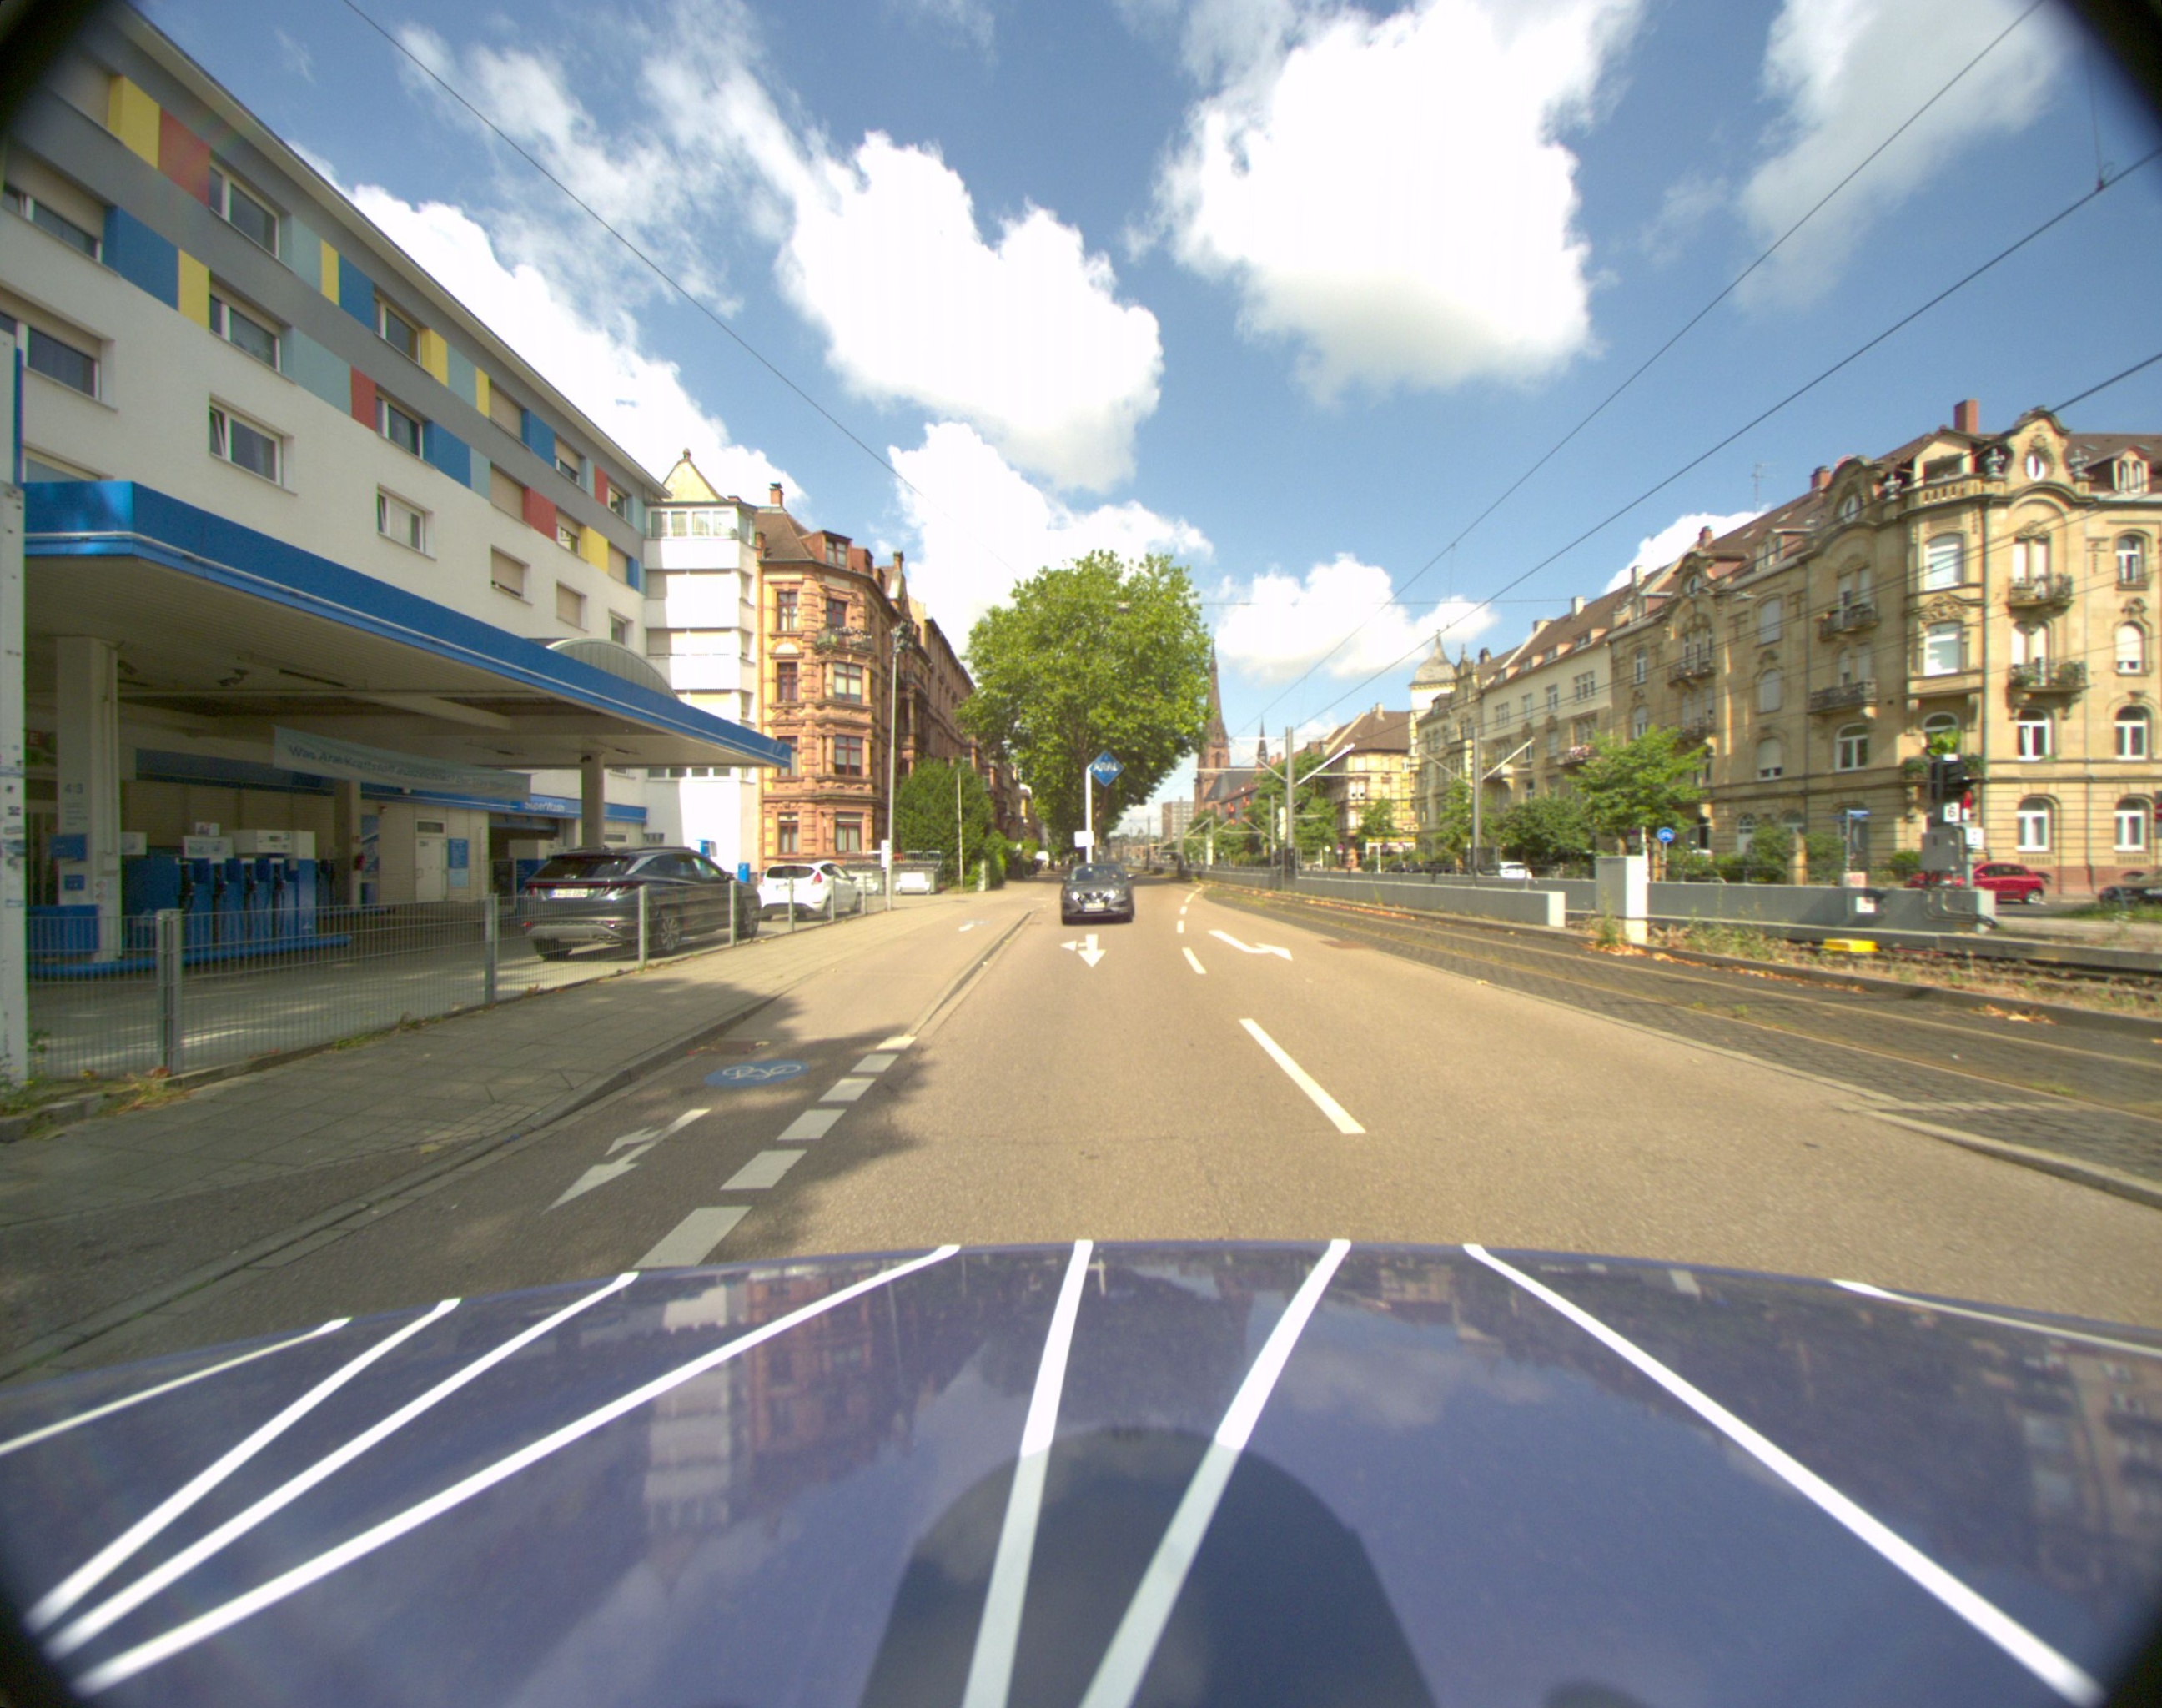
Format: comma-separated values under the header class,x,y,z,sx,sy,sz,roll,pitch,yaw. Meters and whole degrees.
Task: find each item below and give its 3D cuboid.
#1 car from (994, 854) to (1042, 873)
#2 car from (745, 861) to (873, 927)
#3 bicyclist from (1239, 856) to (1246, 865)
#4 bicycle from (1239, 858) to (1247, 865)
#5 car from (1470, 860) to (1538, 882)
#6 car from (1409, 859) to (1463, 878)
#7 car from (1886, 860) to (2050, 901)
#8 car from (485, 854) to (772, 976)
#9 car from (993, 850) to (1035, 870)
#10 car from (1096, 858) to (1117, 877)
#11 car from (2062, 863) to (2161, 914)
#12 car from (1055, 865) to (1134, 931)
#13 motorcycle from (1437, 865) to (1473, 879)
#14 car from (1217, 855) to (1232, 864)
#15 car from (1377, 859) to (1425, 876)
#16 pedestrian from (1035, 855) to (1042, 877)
class,x,y,z,sx,sy,sz,roll,pitch,yaw
car,-6.371,0.919,76.976,4.735,1.772,2.004,-2,0,-8
car,-6.751,0.933,19.308,1.810,1.447,4.001,-1,0,0
bicyclist,24.484,0.938,115.106,0.769,1.330,1.049,1,0,1
bicycle,24.486,1.107,114.831,0.778,0.973,2.141,1,0,1
car,26.298,1.039,47.393,1.756,1.320,4.312,0,0,-2
car,26.258,1.048,56.332,2.025,1.319,4.100,0,0,-2
car,33.192,0.971,28.529,3.789,1.455,1.933,0,0,3
car,-6.899,0.816,12.299,1.810,1.593,4.583,-1,0,1
car,-7.234,0.682,82.402,4.410,1.927,1.982,3,0,-6
car,2.035,1.069,60.943,1.557,1.476,3.858,1,0,0
car,32.551,1.011,22.802,3.972,1.455,1.723,0,0,0
car,0.329,1.043,19.716,1.800,1.454,4.567,0,0,0
motorcycle,26.267,1.243,53.387,1.765,0.936,1.417,1,0,-1
car,25.859,1.045,137.055,1.999,1.628,4.114,0,0,0
car,26.045,1.060,61.998,1.953,1.319,4.726,0,0,1
pedestrian,-3.476,0.962,62.460,0.565,1.775,0.630,0,0,0
